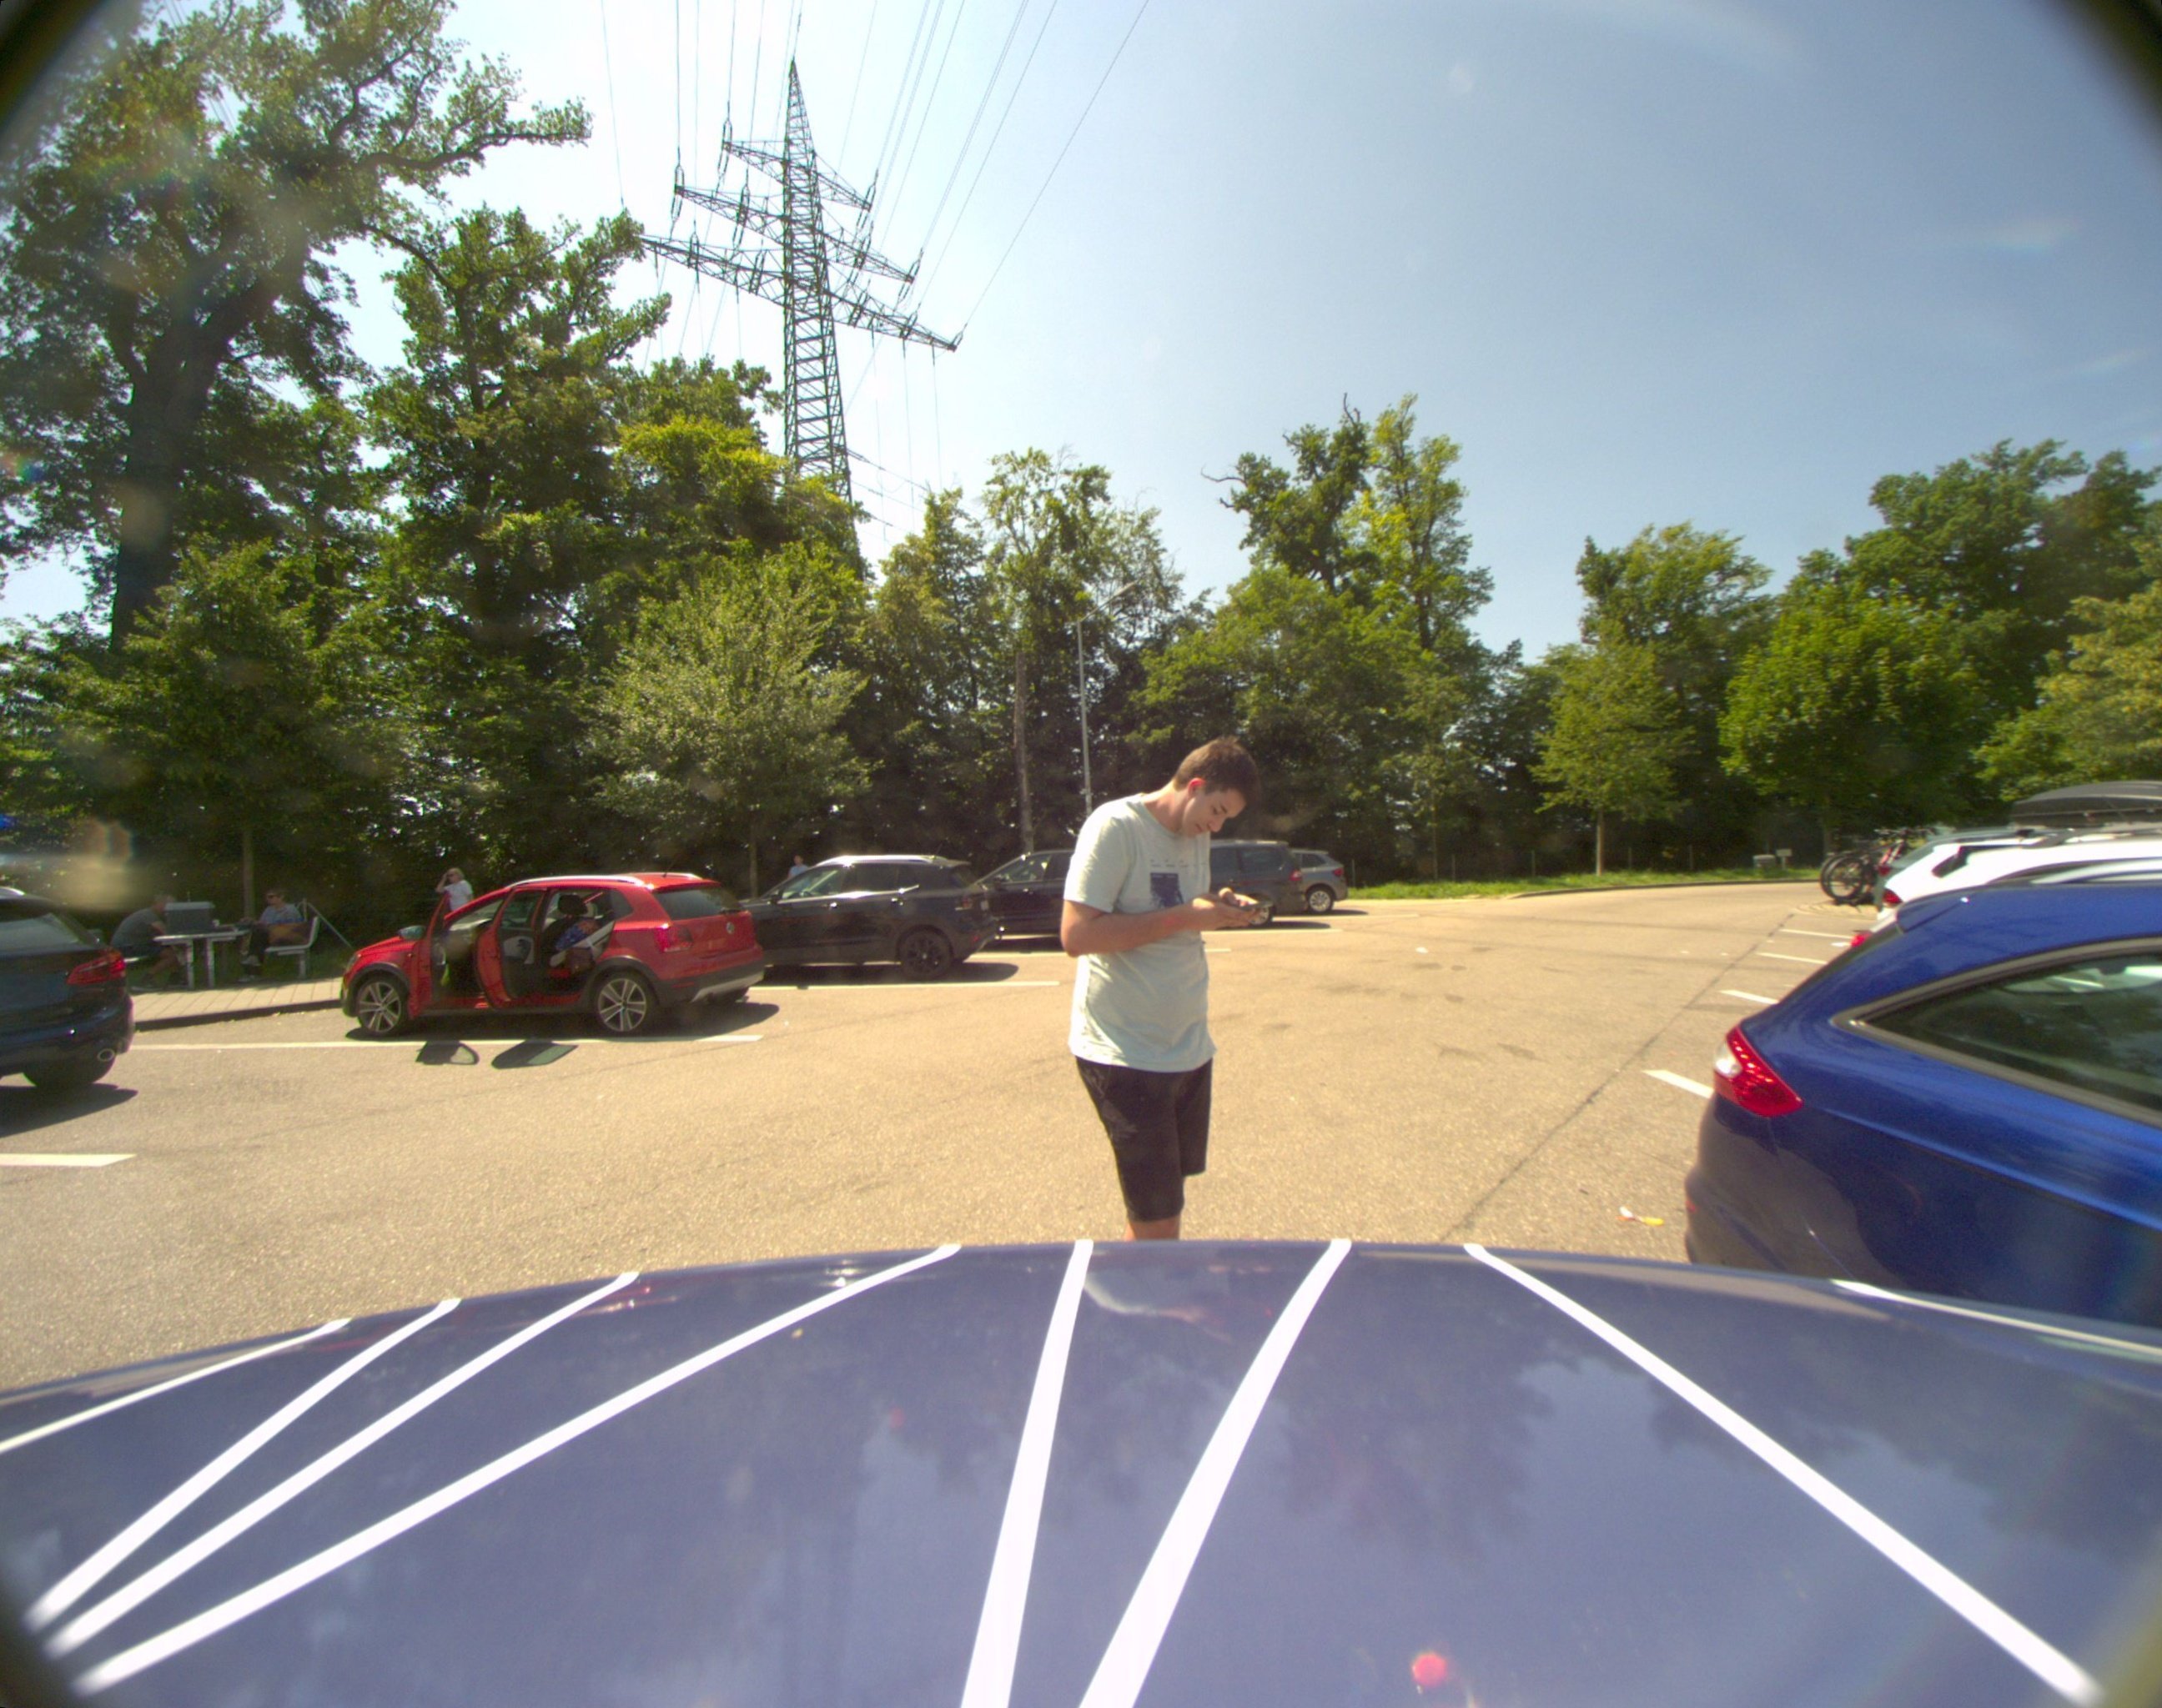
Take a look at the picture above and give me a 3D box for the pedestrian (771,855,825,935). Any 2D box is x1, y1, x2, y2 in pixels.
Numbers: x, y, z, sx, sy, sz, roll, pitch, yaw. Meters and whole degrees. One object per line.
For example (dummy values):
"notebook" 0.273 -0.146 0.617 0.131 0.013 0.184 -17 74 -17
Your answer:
"pedestrian" -5.811 0.819 15.613 0.714 1.584 0.810 -2 0 3

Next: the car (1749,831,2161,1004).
"car" 10.048 0.535 8.147 1.779 1.456 4.470 -2 -1 0

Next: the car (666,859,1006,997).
"car" -3.162 0.936 10.370 3.966 1.582 1.841 -2 0 3

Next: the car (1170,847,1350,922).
"car" 4.163 0.712 18.192 3.964 1.577 1.781 -2 0 7

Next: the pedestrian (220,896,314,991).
"pedestrian" -11.849 1.282 11.065 0.828 1.287 0.672 -2 0 24

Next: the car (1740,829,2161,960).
"car" 12.350 0.479 10.932 1.779 1.456 4.470 -2 -1 0

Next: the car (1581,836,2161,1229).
"car" 4.909 0.659 3.816 1.779 1.456 4.470 -2 -1 0

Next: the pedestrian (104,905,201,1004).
"pedestrian" -12.823 1.365 10.498 0.652 1.262 0.672 -2 0 24

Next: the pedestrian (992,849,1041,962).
"pedestrian" -1.028 0.809 12.151 0.660 1.745 0.636 -2 0 1

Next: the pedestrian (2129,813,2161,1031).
"pedestrian" 8.217 0.485 5.314 0.672 1.592 0.759 -2 0 1

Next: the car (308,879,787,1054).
"car" -5.209 1.069 7.710 3.704 1.448 1.781 -2 0 7

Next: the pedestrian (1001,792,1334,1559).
"pedestrian" 0.197 0.726 1.994 0.687 1.699 0.578 -2 0 1

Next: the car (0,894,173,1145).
"car" -8.934 1.153 4.992 4.011 1.558 1.846 -2 0 6

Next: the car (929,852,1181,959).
"car" -0.342 0.838 12.948 3.964 1.582 1.781 -2 0 8

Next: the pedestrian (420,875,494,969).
"pedestrian" -11.213 1.196 13.655 0.773 1.584 0.811 -2 0 36

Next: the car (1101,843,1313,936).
"car" 2.494 0.696 15.440 3.964 1.678 1.781 -2 0 7
